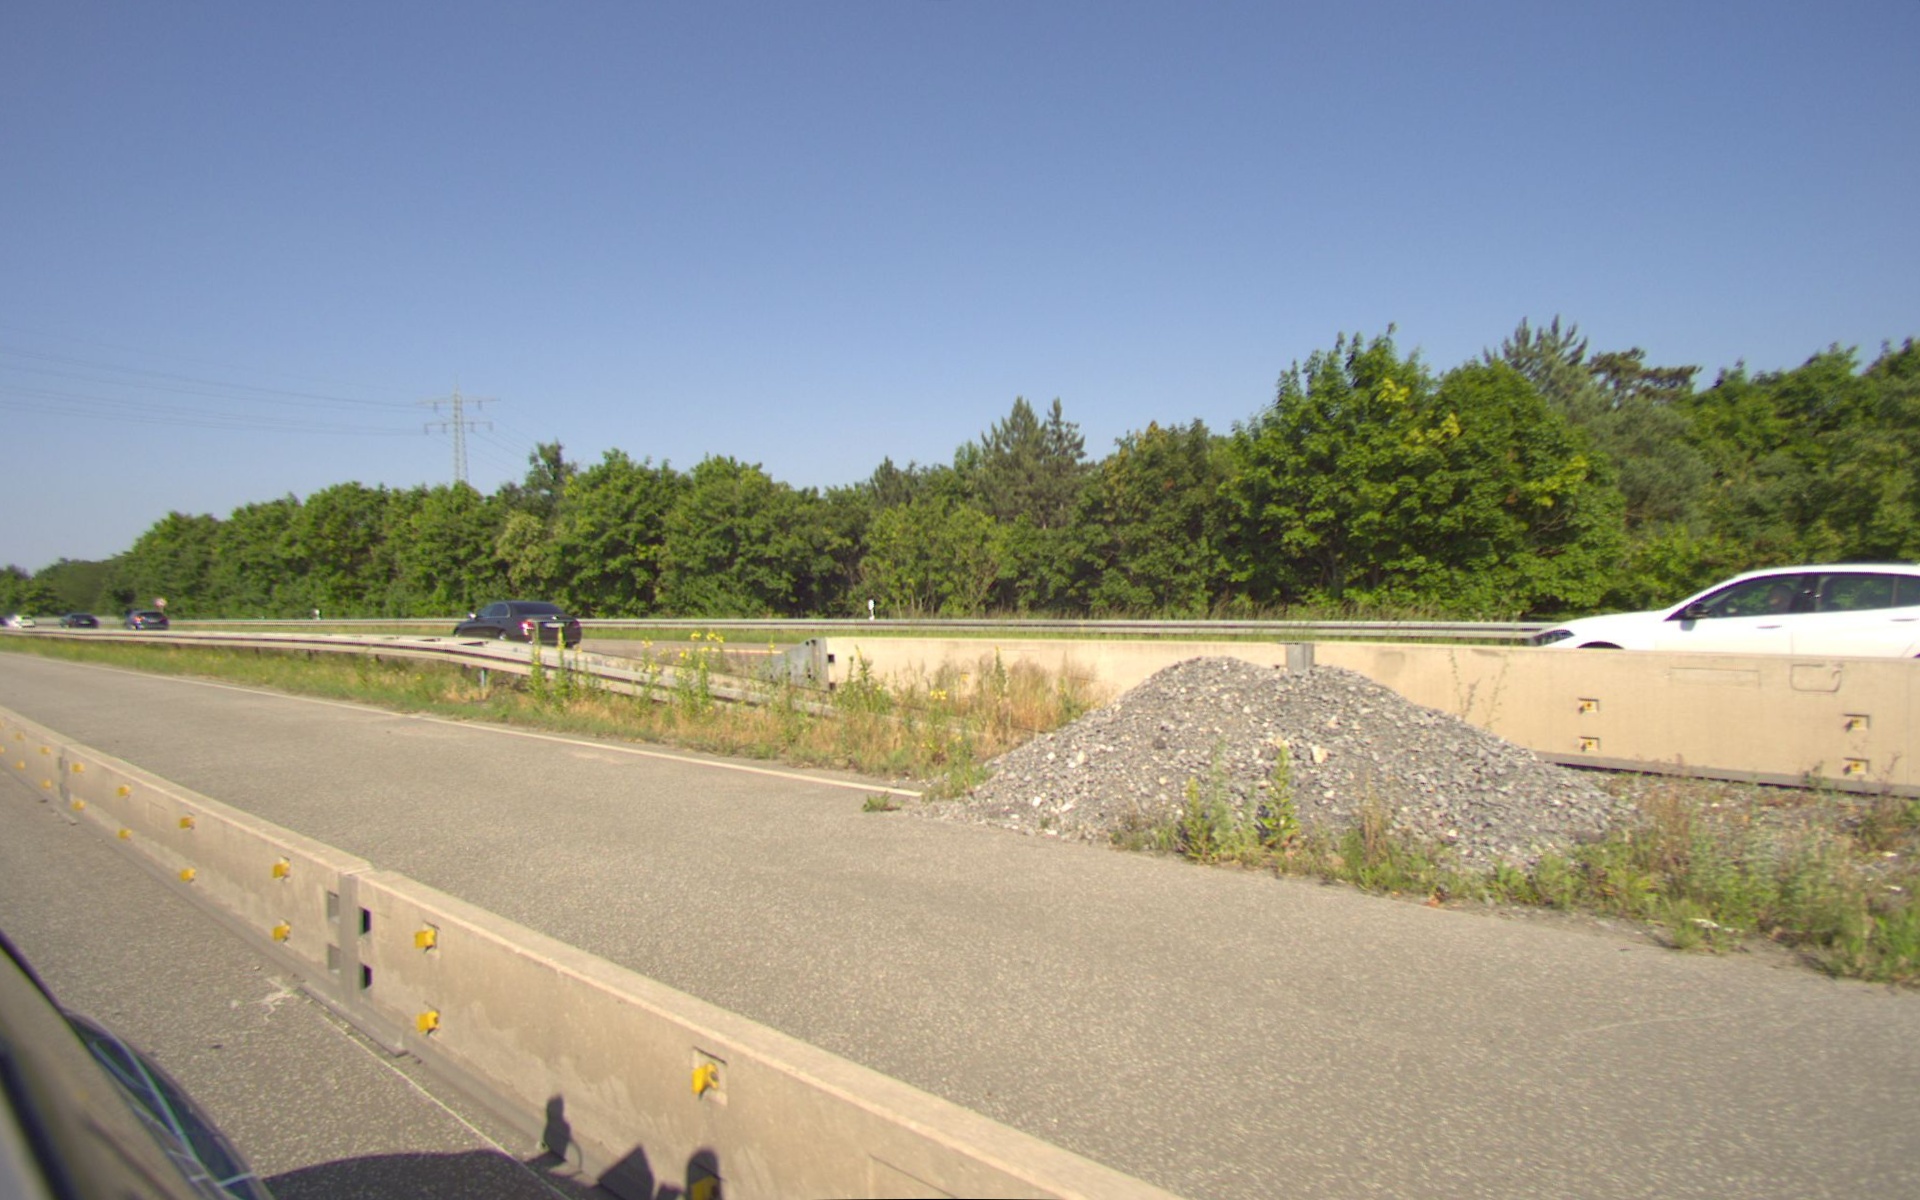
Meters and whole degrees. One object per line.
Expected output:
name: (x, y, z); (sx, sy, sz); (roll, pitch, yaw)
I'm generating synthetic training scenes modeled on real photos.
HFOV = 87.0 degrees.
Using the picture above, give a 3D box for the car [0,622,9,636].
car: (-108.500, 3.305, 113.903); (4.107, 1.505, 1.721); (-1, 0, 41)

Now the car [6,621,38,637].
car: (-94.490, 2.919, 101.935); (4.791, 1.481, 1.742); (-1, 1, 40)

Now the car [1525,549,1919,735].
car: (8.369, 0.368, 10.092); (4.441, 1.620, 1.797); (-1, 0, 45)

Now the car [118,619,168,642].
car: (-53.529, 1.987, 66.276); (4.589, 1.445, 1.778); (-1, 0, 41)

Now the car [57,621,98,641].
car: (-68.089, 2.374, 78.073); (5.021, 1.499, 1.797); (-1, -1, 42)

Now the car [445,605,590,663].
car: (-12.188, 0.903, 27.735); (4.811, 1.451, 1.820); (-1, -1, 42)
